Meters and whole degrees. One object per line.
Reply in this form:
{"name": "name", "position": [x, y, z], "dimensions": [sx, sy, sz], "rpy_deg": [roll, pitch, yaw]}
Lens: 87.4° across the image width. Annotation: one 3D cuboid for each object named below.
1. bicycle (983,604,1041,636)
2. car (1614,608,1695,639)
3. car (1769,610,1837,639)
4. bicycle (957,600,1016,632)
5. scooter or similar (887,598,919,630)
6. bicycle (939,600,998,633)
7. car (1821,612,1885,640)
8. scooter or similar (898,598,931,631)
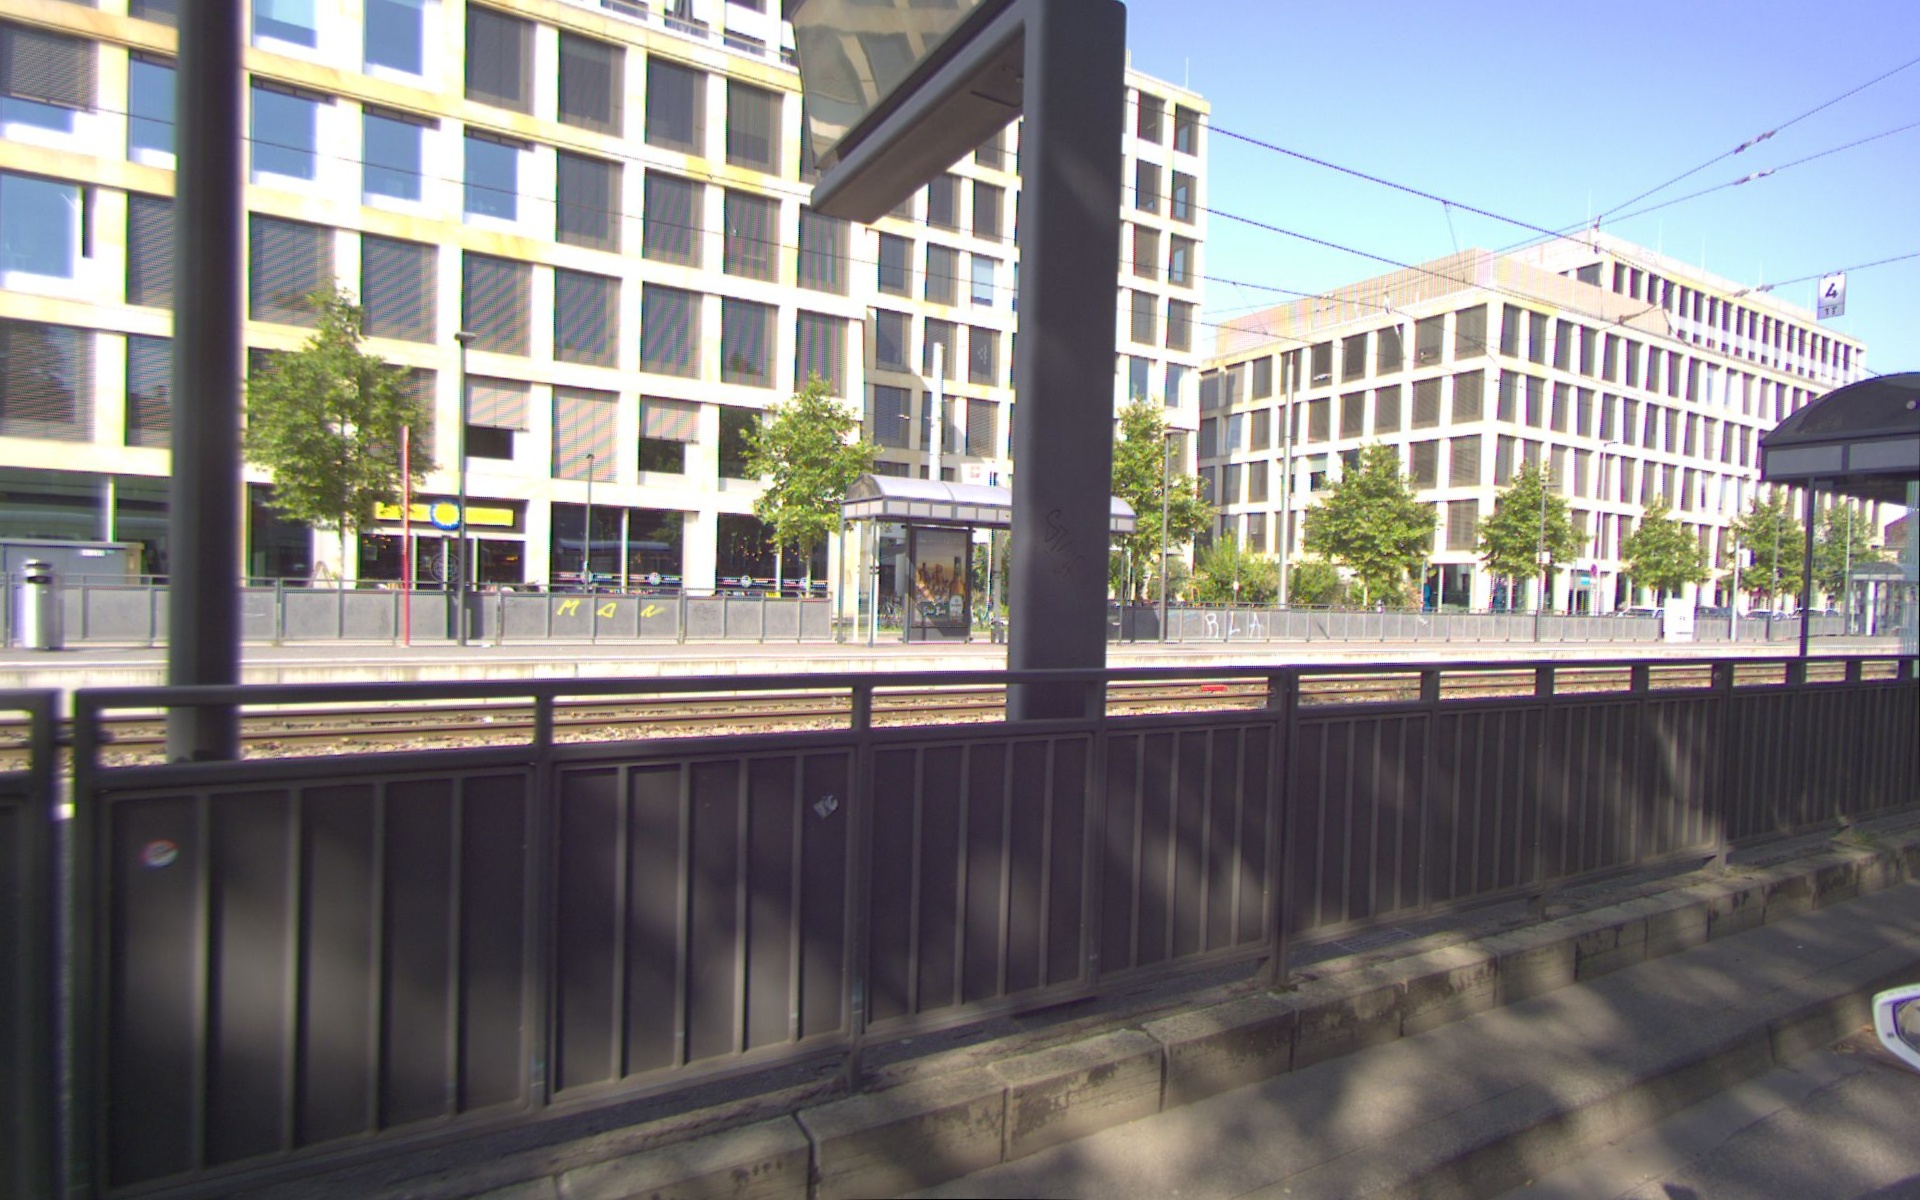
{"name": "bicycle", "position": [1.792, 0.683, 35.126], "dimensions": [0.812, 0.999, 2.421], "rpy_deg": [1, 1, -31]}
{"name": "car", "position": [33.704, 1.144, 48.708], "dimensions": [4.173, 1.395, 1.634], "rpy_deg": [1, 1, -31]}
{"name": "car", "position": [47.513, 1.389, 56.619], "dimensions": [4.173, 1.571, 1.634], "rpy_deg": [1, 1, -31]}
{"name": "bicycle", "position": [0.866, 0.531, 34.035], "dimensions": [0.812, 0.999, 2.421], "rpy_deg": [1, 1, -31]}
{"name": "scooter or similar", "position": [-1.841, 0.439, 32.278], "dimensions": [0.367, 0.999, 1.493], "rpy_deg": [1, 1, -31]}
{"name": "bicycle", "position": [0.247, 0.536, 33.206], "dimensions": [0.812, 0.999, 2.421], "rpy_deg": [1, 1, -31]}
{"name": "car", "position": [53.837, 1.565, 60.548], "dimensions": [4.173, 1.571, 1.634], "rpy_deg": [1, 1, -31]}
{"name": "scooter or similar", "position": [-1.490, 0.465, 32.670], "dimensions": [0.390, 0.999, 1.514], "rpy_deg": [1, 1, -31]}
